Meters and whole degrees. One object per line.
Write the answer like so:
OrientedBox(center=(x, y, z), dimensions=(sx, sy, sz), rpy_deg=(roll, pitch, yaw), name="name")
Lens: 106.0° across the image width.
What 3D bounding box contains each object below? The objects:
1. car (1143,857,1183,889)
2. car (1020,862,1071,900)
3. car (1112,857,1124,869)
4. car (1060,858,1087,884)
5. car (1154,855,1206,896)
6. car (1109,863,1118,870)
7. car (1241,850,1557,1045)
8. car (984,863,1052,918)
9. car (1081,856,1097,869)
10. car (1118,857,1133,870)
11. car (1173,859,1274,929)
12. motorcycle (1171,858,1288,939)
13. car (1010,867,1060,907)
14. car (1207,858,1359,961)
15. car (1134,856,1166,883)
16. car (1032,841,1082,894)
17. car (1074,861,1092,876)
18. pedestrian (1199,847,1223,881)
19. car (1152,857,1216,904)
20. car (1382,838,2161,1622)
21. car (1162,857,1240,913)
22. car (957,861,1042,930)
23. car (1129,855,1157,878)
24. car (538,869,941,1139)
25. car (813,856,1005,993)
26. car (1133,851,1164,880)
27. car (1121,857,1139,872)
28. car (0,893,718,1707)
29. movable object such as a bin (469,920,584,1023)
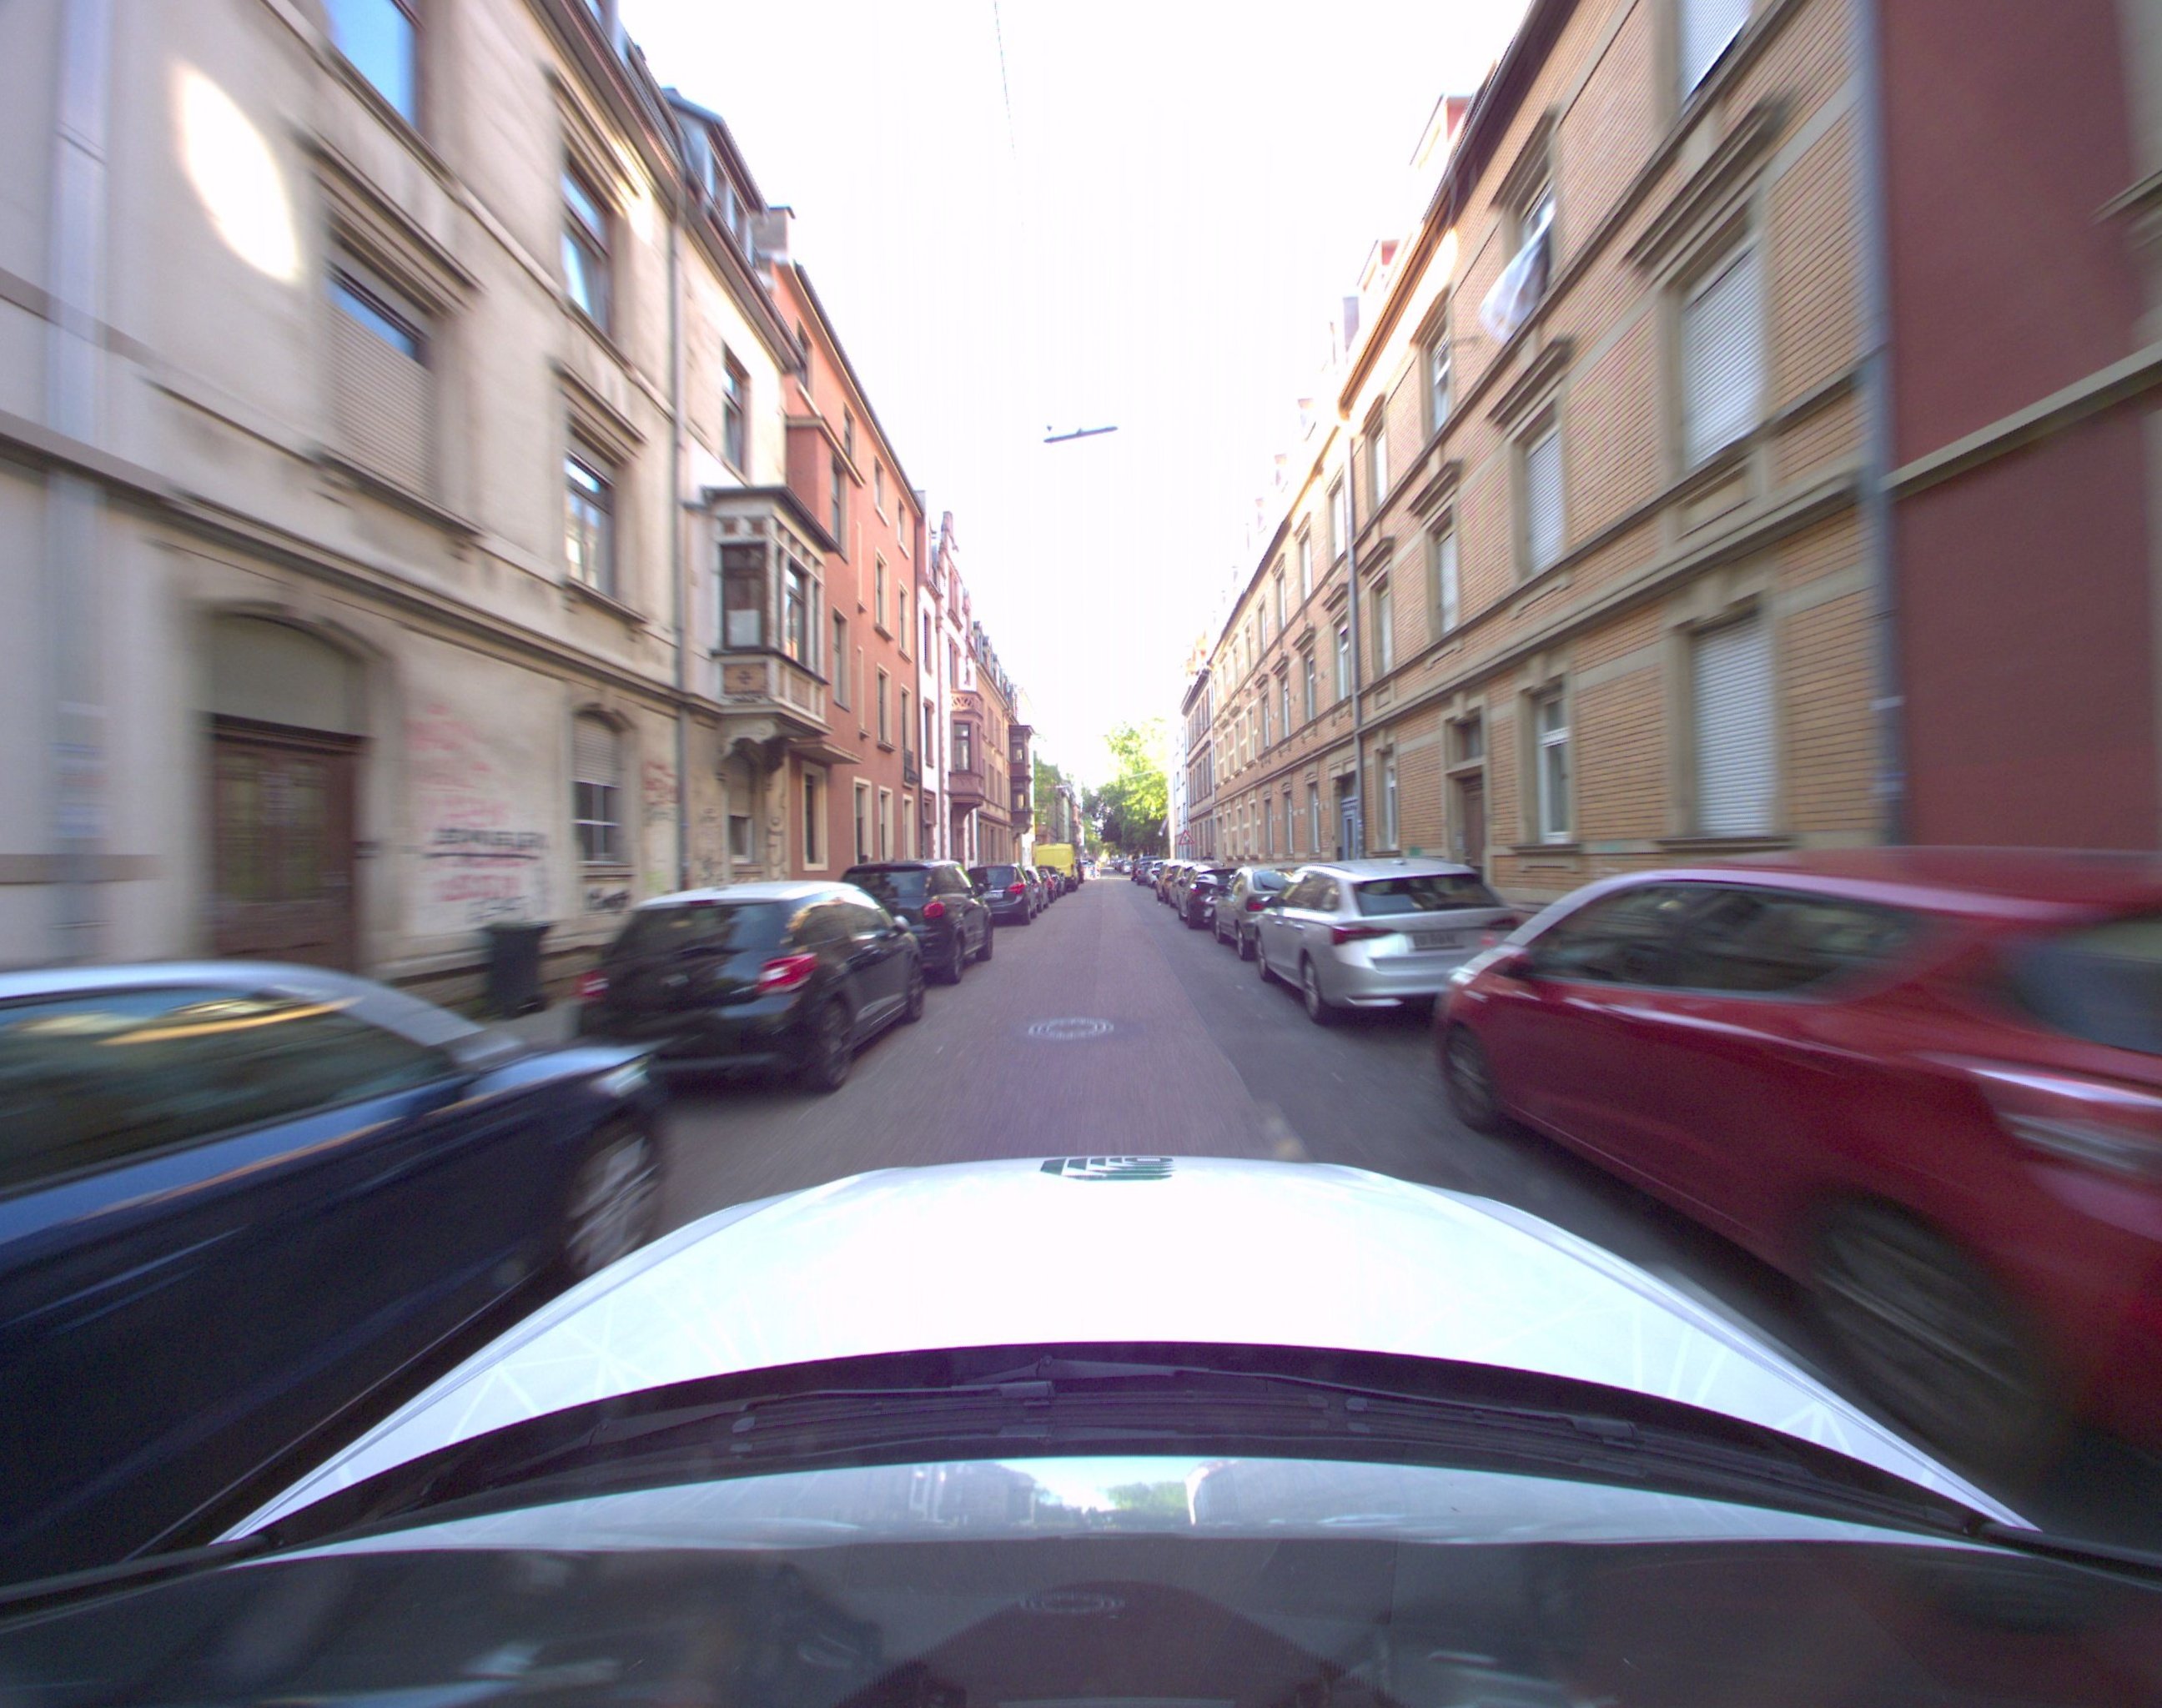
OrientedBox(center=(4.574, 1.019, 45.906), dimensions=(1.748, 1.518, 4.443), rpy_deg=(-6, 0, 1), name="car")
OrientedBox(center=(-1.562, 1.174, 37.231), dimensions=(1.711, 1.412, 3.902), rpy_deg=(-7, -1, 5), name="car")
OrientedBox(center=(7.348, 1.758, 163.046), dimensions=(2.153, 2.255, 4.525), rpy_deg=(-2, -1, 1), name="car")
OrientedBox(center=(-0.533, 1.212, 58.565), dimensions=(1.813, 1.766, 4.333), rpy_deg=(-2, -1, -1), name="car")
OrientedBox(center=(4.229, 0.884, 35.270), dimensions=(1.715, 1.480, 4.083), rpy_deg=(-6, 0, 1), name="car")
OrientedBox(center=(8.026, 3.075, 200.657), dimensions=(1.986, 1.728, 4.001), rpy_deg=(-3, 0, 1), name="car")
OrientedBox(center=(2.960, 0.748, 8.691), dimensions=(1.755, 1.484, 4.404), rpy_deg=(-2, 0, 2), name="car")
OrientedBox(center=(-1.992, 1.124, 26.678), dimensions=(1.688, 1.474, 3.920), rpy_deg=(-5, 0, 2), name="car")
OrientedBox(center=(1.399, 1.429, 135.600), dimensions=(2.300, 2.114, 5.173), rpy_deg=(-2, -1, 3), name="car")
OrientedBox(center=(6.107, 1.350, 112.622), dimensions=(1.888, 1.625, 4.000), rpy_deg=(-2, -1, 1), name="car")
OrientedBox(center=(3.266, 0.860, 19.458), dimensions=(1.770, 1.397, 4.319), rpy_deg=(-2, 0, 2), name="car")
OrientedBox(center=(3.009, 0.856, 16.472), dimensions=(2.229, 1.536, 0.883), rpy_deg=(0, 0, -25), name="motorcycle")
OrientedBox(center=(-1.793, 1.290, 32.572), dimensions=(1.612, 1.326, 3.613), rpy_deg=(-5, -1, 1), name="car")
OrientedBox(center=(3.221, 0.808, 13.754), dimensions=(1.685, 1.406, 3.994), rpy_deg=(-2, 0, 2), name="car")
OrientedBox(center=(4.338, 0.963, 51.804), dimensions=(1.746, 1.452, 4.291), rpy_deg=(-6, 0, 3), name="car")
OrientedBox(center=(-1.212, 0.698, 43.906), dimensions=(2.167, 2.507, 5.879), rpy_deg=(-5, 0, 1), name="car")
OrientedBox(center=(0.289, 1.758, 97.750), dimensions=(1.874, 1.707, 4.002), rpy_deg=(-4, -1, 2), name="car")
OrientedBox(center=(6.589, 0.499, 41.293), dimensions=(0.659, 1.630, 0.870), rpy_deg=(-3, -2, -40), name="pedestrian")
OrientedBox(center=(3.743, 0.941, 30.302), dimensions=(1.748, 1.446, 4.068), rpy_deg=(-6, -1, 0), name="car")
OrientedBox(center=(2.880, 0.720, 3.441), dimensions=(1.654, 1.479, 4.023), rpy_deg=(-2, 0, -1), name="car")
OrientedBox(center=(3.667, 0.909, 25.558), dimensions=(1.720, 1.417, 4.093), rpy_deg=(-6, 0, 0), name="car")
OrientedBox(center=(-2.083, 1.019, 21.896), dimensions=(1.775, 1.606, 4.069), rpy_deg=(-2, 0, 0), name="car")
OrientedBox(center=(4.667, 0.929, 61.910), dimensions=(1.894, 1.640, 4.391), rpy_deg=(-2, -1, 1), name="car")
OrientedBox(center=(-2.415, 0.950, 6.892), dimensions=(1.637, 1.455, 3.839), rpy_deg=(-5, 0, 1), name="car")
OrientedBox(center=(-2.326, 0.878, 12.149), dimensions=(1.754, 1.617, 4.191), rpy_deg=(-2, 0, 2), name="car")
OrientedBox(center=(4.688, 0.771, 57.239), dimensions=(1.747, 1.786, 4.725), rpy_deg=(-5, 0, 1), name="car")
OrientedBox(center=(5.462, 1.159, 91.341), dimensions=(1.719, 1.522, 3.998), rpy_deg=(-3, 0, -1), name="car")
OrientedBox(center=(-2.643, 0.912, 1.977), dimensions=(1.775, 1.403, 3.742), rpy_deg=(-2, 0, 0), name="car")
OrientedBox(center=(-5.549, 1.157, 8.187), dimensions=(0.610, 0.920, 0.734), rpy_deg=(-2, -1, 1), name="movable object such as a bin")
